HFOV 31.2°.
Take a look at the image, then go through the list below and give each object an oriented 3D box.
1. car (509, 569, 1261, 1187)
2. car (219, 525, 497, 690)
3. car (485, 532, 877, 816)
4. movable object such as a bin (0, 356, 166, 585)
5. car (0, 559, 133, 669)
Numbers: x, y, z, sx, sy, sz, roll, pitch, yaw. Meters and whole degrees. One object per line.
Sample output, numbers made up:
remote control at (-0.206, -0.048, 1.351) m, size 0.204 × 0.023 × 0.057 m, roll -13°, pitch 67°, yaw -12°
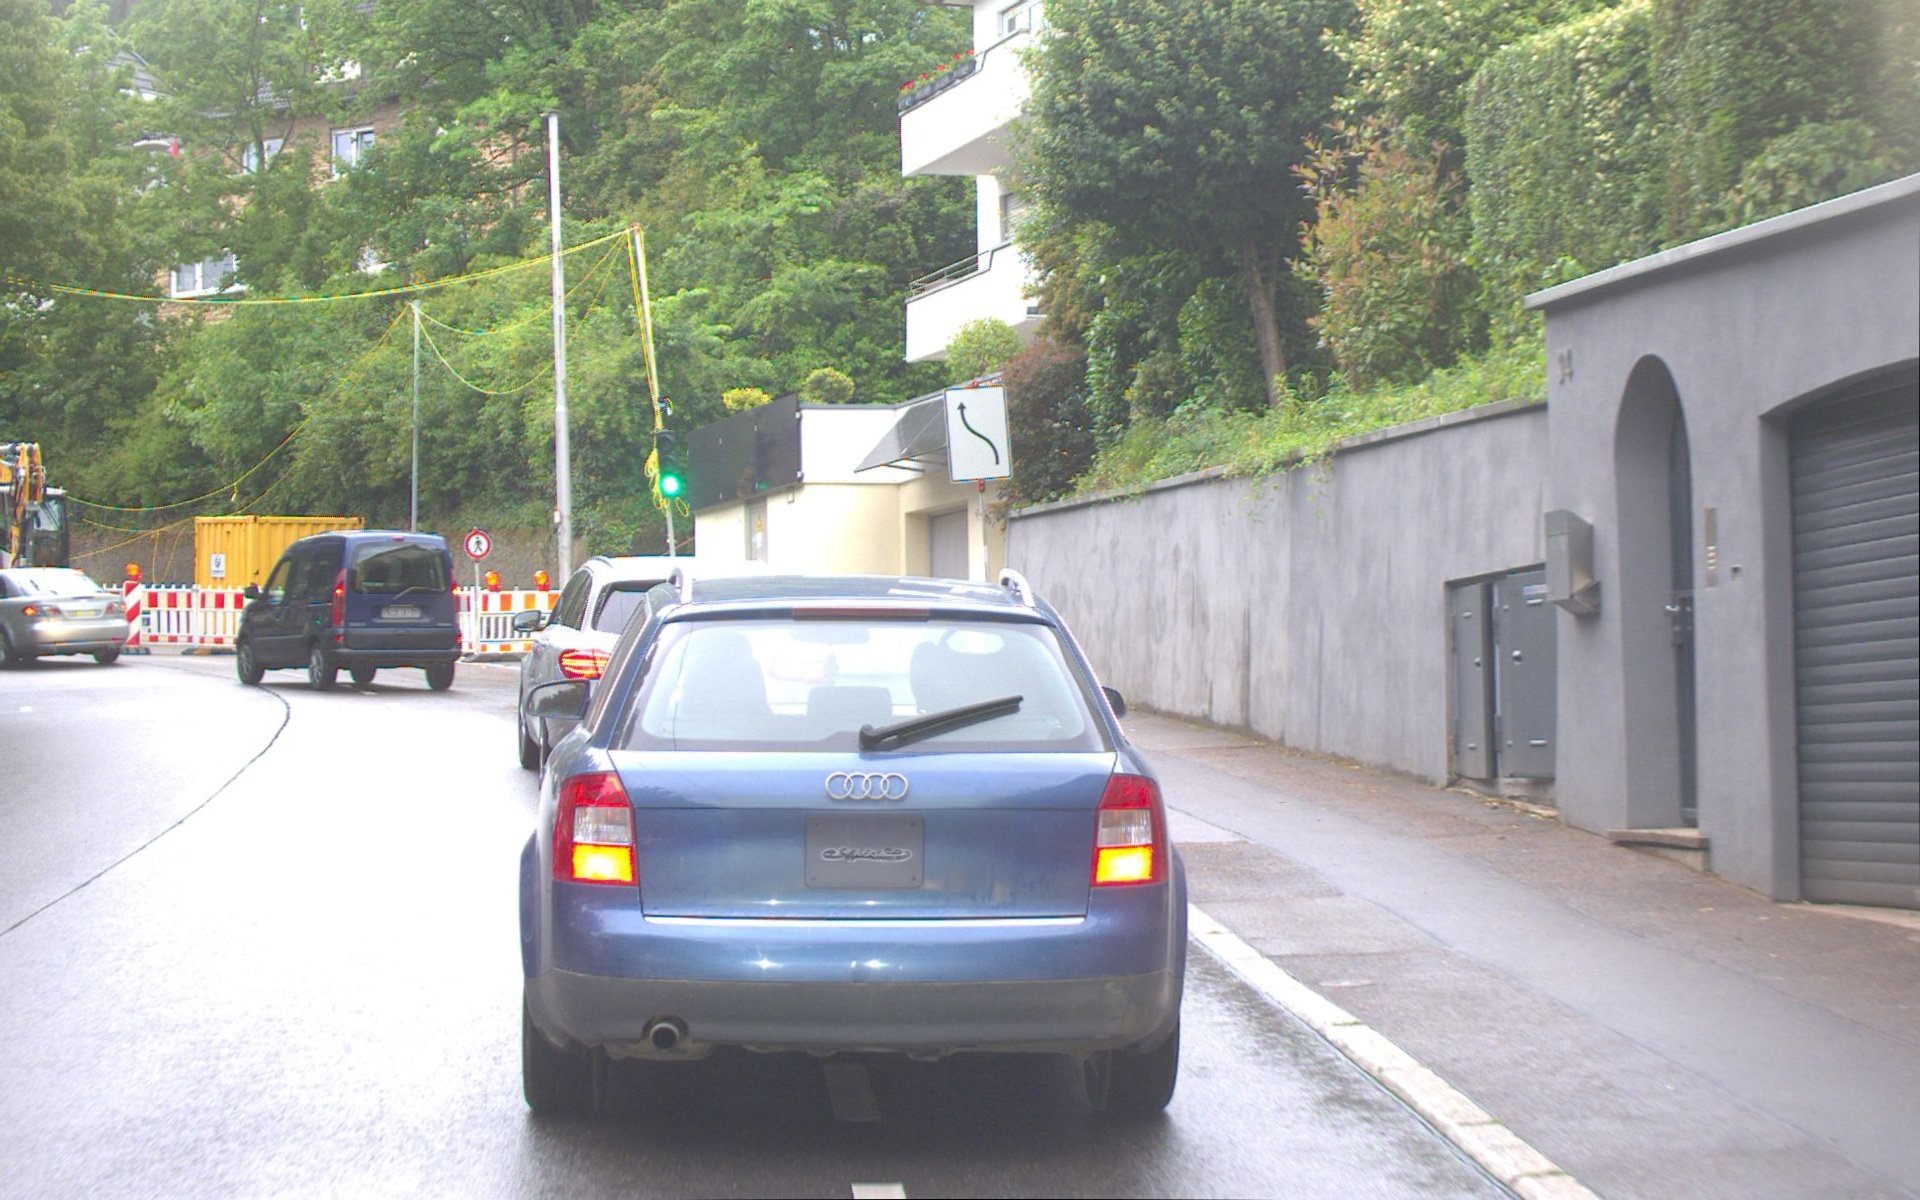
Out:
car at (-0.412, 0.640, 10.145) m, size 1.785 × 1.437 × 3.964 m, roll 0°, pitch 1°, yaw -7°
car at (-7.133, 0.069, 40.437) m, size 1.993 × 1.787 × 4.000 m, roll -2°, pitch 1°, yaw -29°
car at (-1.888, 0.377, 21.947) m, size 1.925 × 1.612 × 4.322 m, roll 0°, pitch 1°, yaw -12°
movable object such as a bin at (-17.649, -2.350, 63.942) m, size 2.820 × 4.000 × 7.325 m, roll -1°, pitch 1°, yaw -37°
car at (-13.723, 0.195, 50.144) m, size 1.721 × 1.481 × 4.075 m, roll -3°, pitch 1°, yaw -37°
